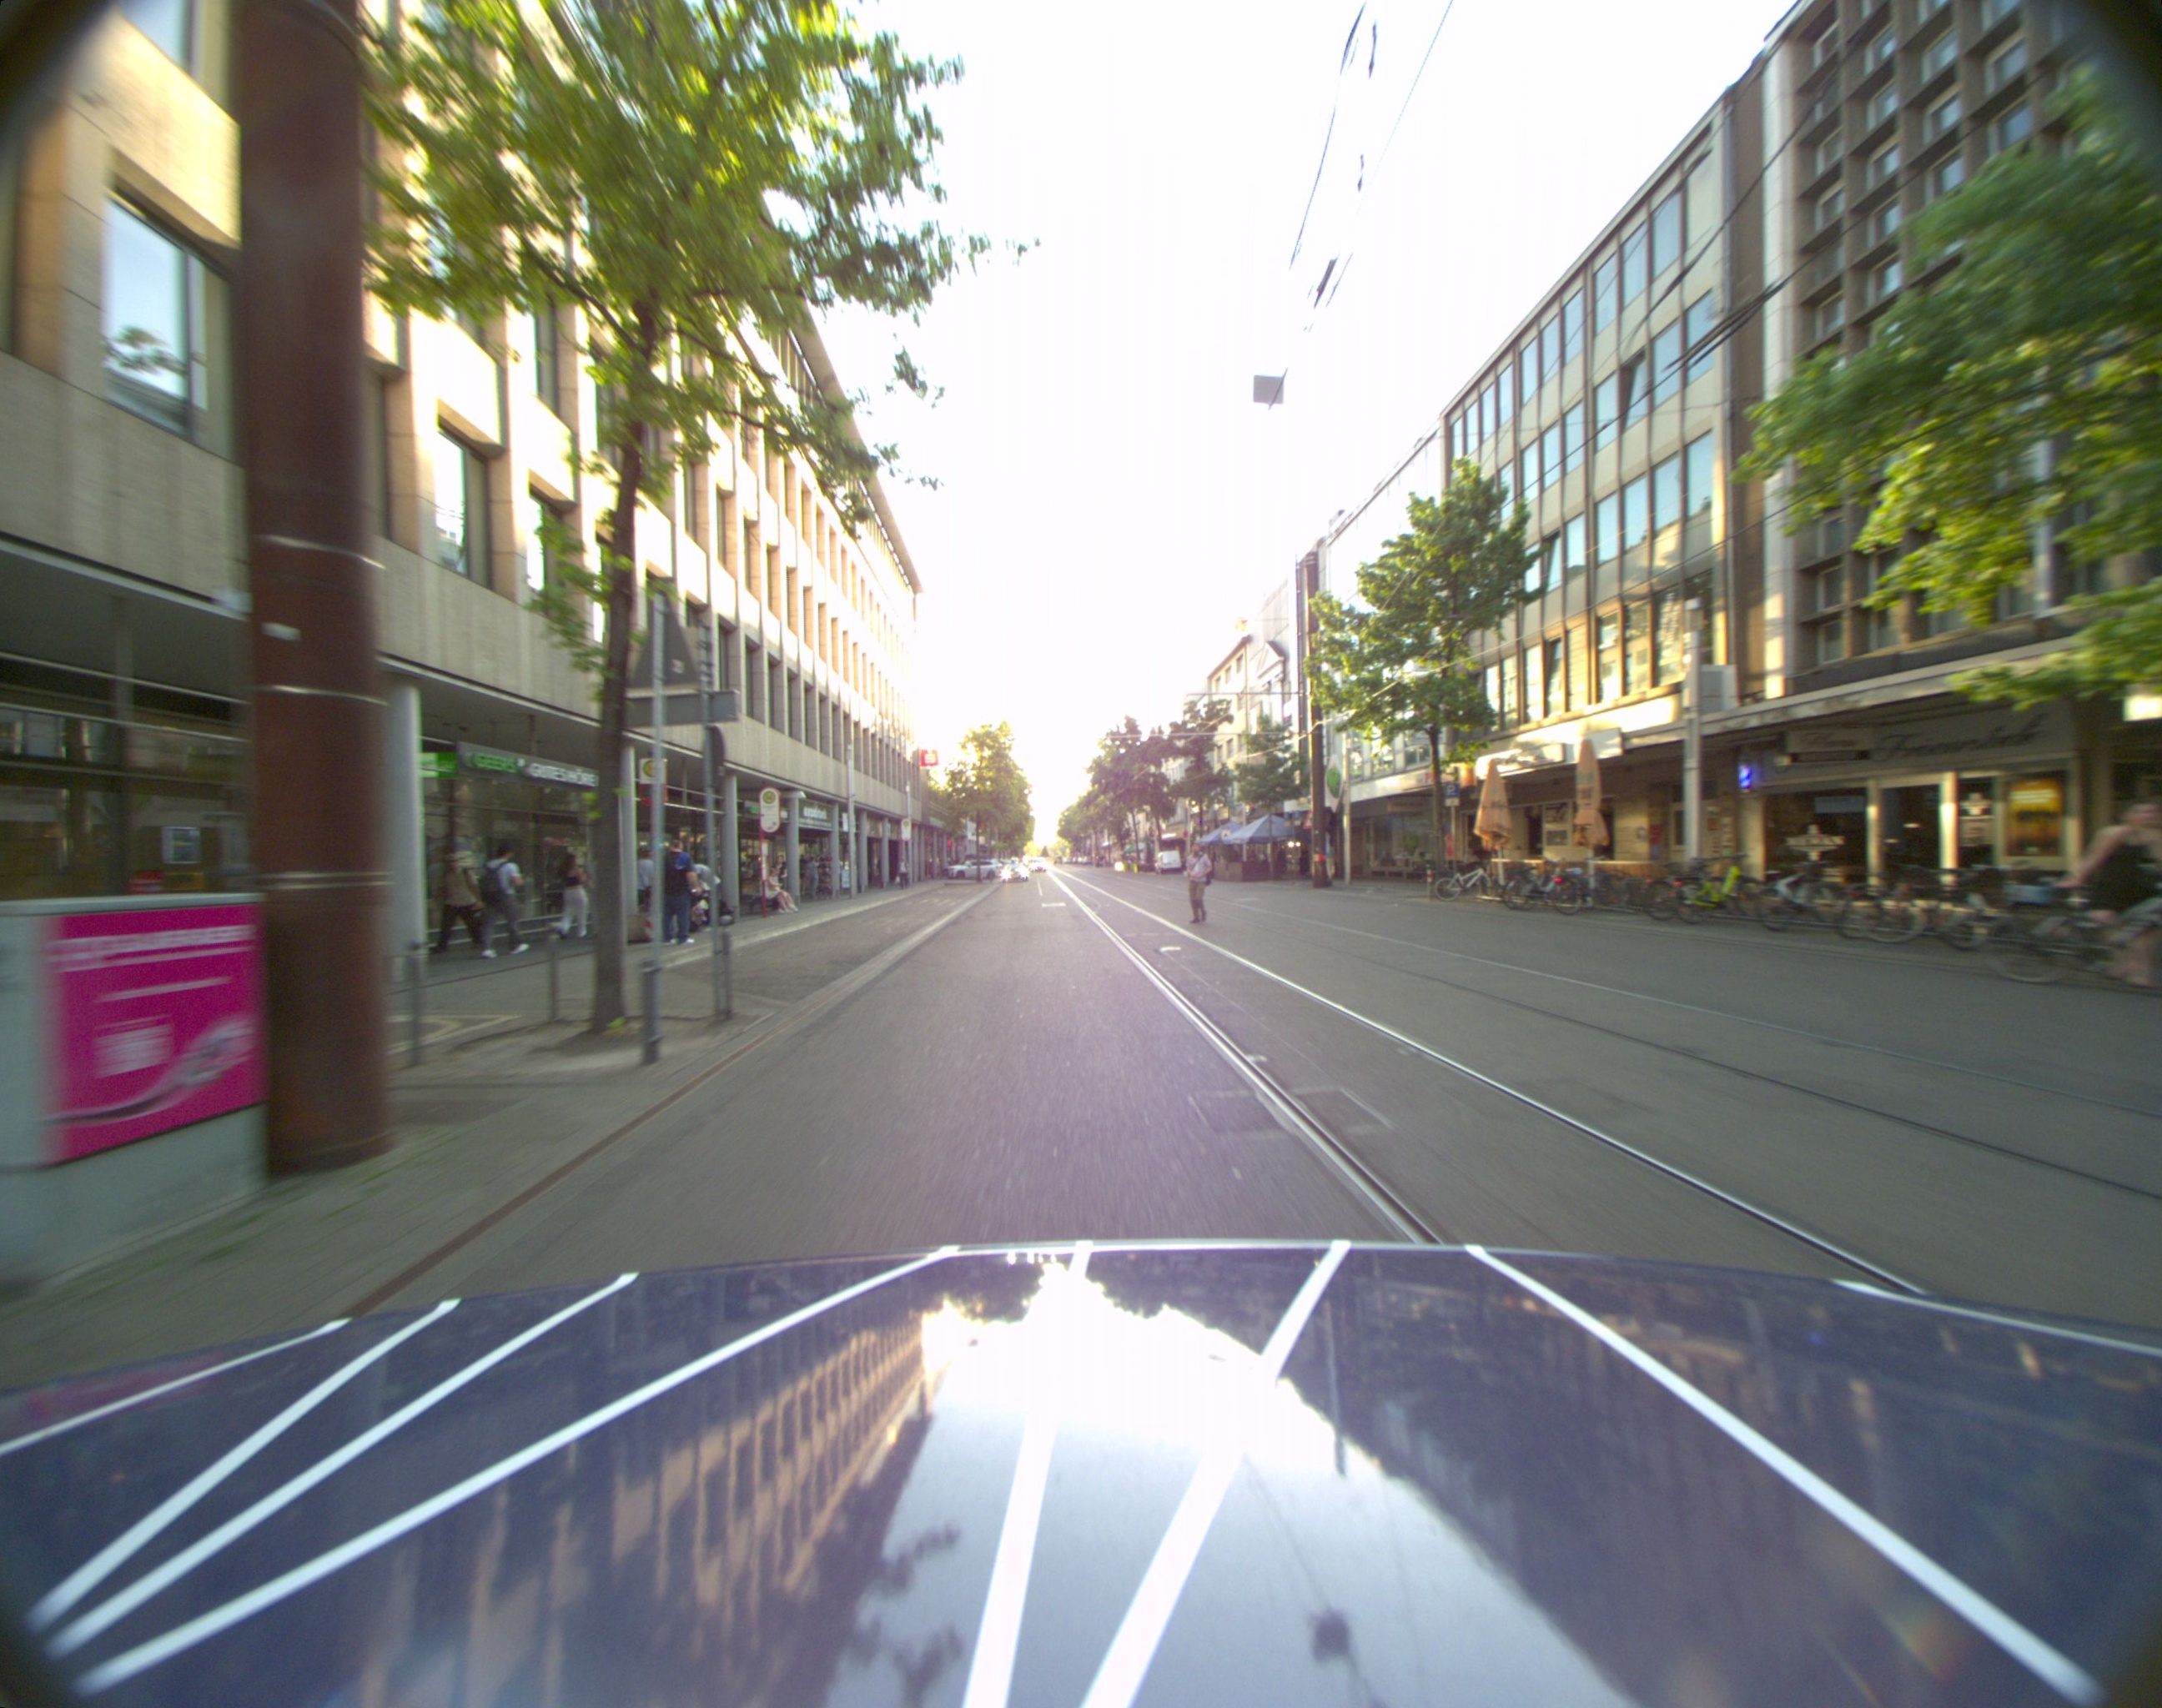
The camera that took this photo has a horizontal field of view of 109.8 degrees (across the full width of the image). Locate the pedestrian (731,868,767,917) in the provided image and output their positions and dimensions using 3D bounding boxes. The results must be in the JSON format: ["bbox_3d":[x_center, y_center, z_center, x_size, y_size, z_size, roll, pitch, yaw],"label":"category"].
[{"bbox_3d":[-9.133,1.047,20.914,0.720,1.307,0.532,-2,1,-1],"label":"pedestrian"}]

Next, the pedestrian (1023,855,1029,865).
[{"bbox_3d":[-8.452,0.933,116.638,0.651,1.451,0.649,-1,0,-19],"label":"pedestrian"}]

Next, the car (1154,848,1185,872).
[{"bbox_3d":[7.347,0.493,63.365,1.831,1.811,4.329,-4,0,-1],"label":"car"}]

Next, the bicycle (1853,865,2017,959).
[{"bbox_3d":[11.038,0.729,9.833,1.777,1.065,0.489,-3,0,-9],"label":"bicycle"}]

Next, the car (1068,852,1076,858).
[{"bbox_3d":[-2.328,0.217,196.634,1.799,1.501,3.999,-1,0,-2],"label":"car"}]

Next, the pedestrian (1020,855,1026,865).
[{"bbox_3d":[-8.699,0.947,114.002,0.651,1.451,0.649,-1,0,-19],"label":"pedestrian"}]

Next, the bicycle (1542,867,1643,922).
[{"bbox_3d":[10.223,0.795,15.187,1.777,0.984,0.489,-3,0,-9],"label":"bicycle"}]

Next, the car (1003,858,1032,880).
[{"bbox_3d":[-4.484,1.036,54.011,1.799,1.400,4.564,-2,1,-2],"label":"car"}]

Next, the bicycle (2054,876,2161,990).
[{"bbox_3d":[10.464,0.752,7.041,0.489,1.039,1.777,-2,0,-6],"label":"bicycle"}]

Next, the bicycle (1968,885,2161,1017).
[{"bbox_3d":[9.116,0.822,6.650,0.489,1.039,1.777,-2,0,-6],"label":"bicycle"}]

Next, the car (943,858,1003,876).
[{"bbox_3d":[-9.046,1.122,63.855,4.645,1.431,1.913,1,0,-30],"label":"car"}]

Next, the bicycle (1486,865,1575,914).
[{"bbox_3d":[10.119,0.783,17.124,1.777,0.984,0.489,-3,0,-9],"label":"bicycle"}]

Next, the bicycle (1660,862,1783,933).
[{"bbox_3d":[10.808,0.712,12.830,1.777,1.065,0.489,-3,0,-9],"label":"bicycle"}]

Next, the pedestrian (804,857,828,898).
[{"bbox_3d":[-10.708,0.936,30.709,0.689,1.652,0.722,0,1,-2],"label":"pedestrian"}]

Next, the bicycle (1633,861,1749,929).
[{"bbox_3d":[10.758,0.709,13.406,1.777,1.065,0.489,-3,0,-9],"label":"bicycle"}]

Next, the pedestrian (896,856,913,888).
[{"bbox_3d":[-8.768,0.883,37.803,0.670,1.579,0.638,-3,1,-3],"label":"pedestrian"}]

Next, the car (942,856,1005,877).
[{"bbox_3d":[-8.619,1.054,61.173,4.646,1.619,1.913,1,-2,-35],"label":"car"}]

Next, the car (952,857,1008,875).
[{"bbox_3d":[-9.068,1.054,68.491,4.647,1.578,1.913,1,0,-37],"label":"car"}]

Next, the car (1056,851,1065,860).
[{"bbox_3d":[-4.962,0.328,183.413,1.999,2.002,3.999,-1,0,-2],"label":"car"}]

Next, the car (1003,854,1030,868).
[{"bbox_3d":[-9.382,0.990,110.899,1.860,1.776,4.007,-4,1,32],"label":"car"}]

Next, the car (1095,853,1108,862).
[{"bbox_3d":[3.347,0.610,124.929,1.799,1.501,3.999,-1,0,-2],"label":"car"}]

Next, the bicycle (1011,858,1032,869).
[{"bbox_3d":[-5.826,0.938,73.929,1.862,1.067,0.734,-2,-1,18],"label":"bicycle"}]

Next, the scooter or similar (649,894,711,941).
[{"bbox_3d":[-8.161,1.282,15.479,0.835,0.879,0.687,-3,1,11],"label":"scooter or similar"}]

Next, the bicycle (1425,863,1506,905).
[{"bbox_3d":[9.943,0.781,19.702,1.774,0.960,0.490,-3,1,14],"label":"bicycle"}]

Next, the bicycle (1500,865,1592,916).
[{"bbox_3d":[10.156,0.786,16.597,1.777,0.984,0.489,-3,0,-9],"label":"bicycle"}]

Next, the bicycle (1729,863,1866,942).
[{"bbox_3d":[10.923,0.718,11.594,1.777,1.065,0.489,-3,0,-9],"label":"bicycle"}]

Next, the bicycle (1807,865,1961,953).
[{"bbox_3d":[10.954,0.727,10.374,1.777,1.065,0.489,-3,0,-9],"label":"bicycle"}]

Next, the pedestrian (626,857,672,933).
[{"bbox_3d":[-9.569,0.885,16.853,0.650,1.651,0.650,0,1,-2],"label":"pedestrian"}]

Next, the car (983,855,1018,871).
[{"bbox_3d":[-10.393,1.156,97.988,4.004,1.776,1.861,-4,1,-27],"label":"car"}]

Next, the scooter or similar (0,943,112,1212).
[{"bbox_3d":[-5.678,1.109,3.674,1.118,1.244,0.495,0,0,-33],"label":"scooter or similar"}]

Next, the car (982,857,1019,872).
[{"bbox_3d":[-9.871,1.247,93.297,4.006,1.501,1.861,-4,1,-32],"label":"car"}]

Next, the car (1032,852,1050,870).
[{"bbox_3d":[-4.676,0.844,89.401,1.999,2.002,3.999,-1,0,-2],"label":"car"}]

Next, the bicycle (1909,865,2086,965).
[{"bbox_3d":[11.061,0.712,9.181,1.777,1.065,0.489,-3,0,-9],"label":"bicycle"}]
